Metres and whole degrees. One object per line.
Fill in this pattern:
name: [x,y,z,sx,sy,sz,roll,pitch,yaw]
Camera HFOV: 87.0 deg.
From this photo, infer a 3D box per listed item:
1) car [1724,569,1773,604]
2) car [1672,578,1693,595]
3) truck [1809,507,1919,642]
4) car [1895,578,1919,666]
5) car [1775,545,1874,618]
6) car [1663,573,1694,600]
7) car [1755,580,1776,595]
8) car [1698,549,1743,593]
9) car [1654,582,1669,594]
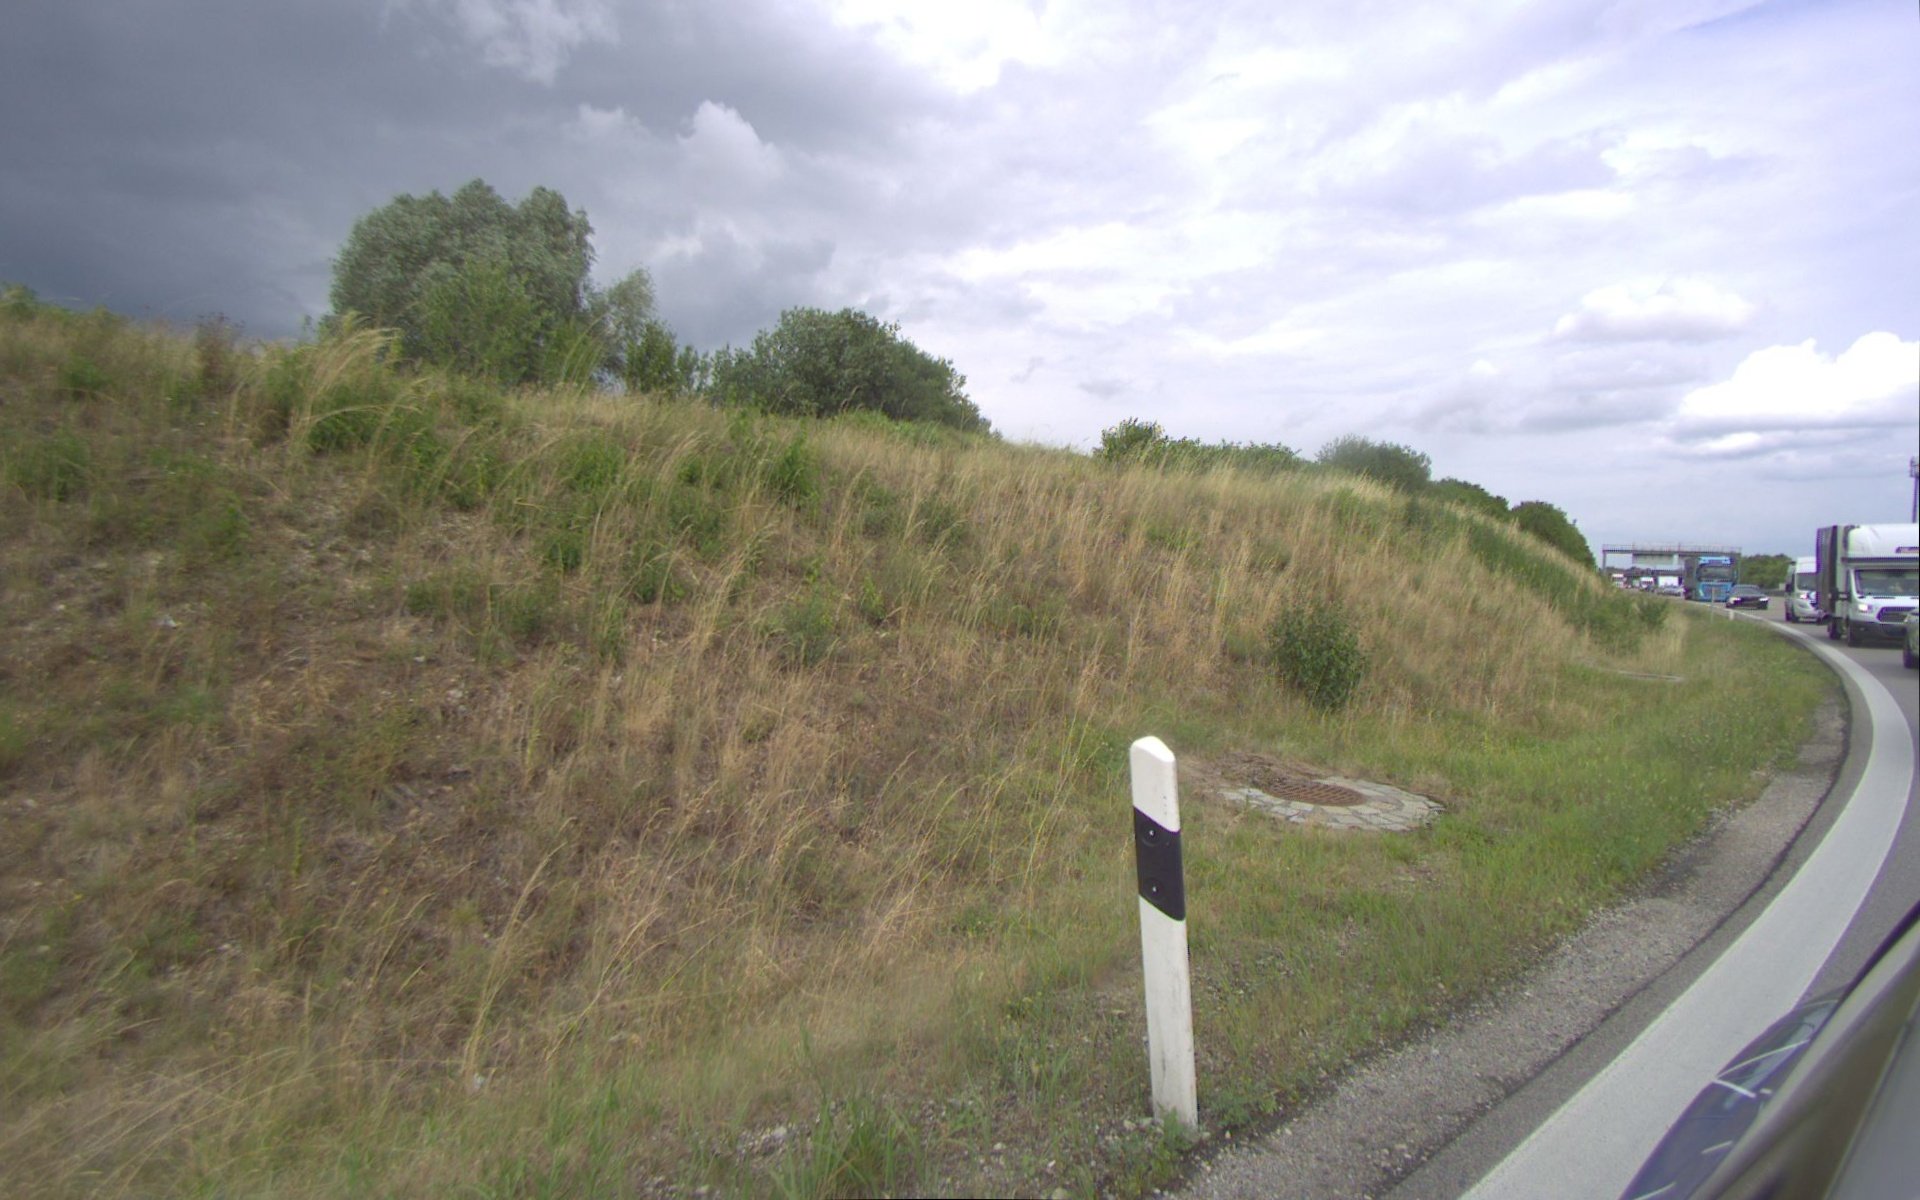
car: [49.037,-0.868,62.991,1.986,2.038,3.954,2,2,33]
car: [91.748,-1.699,128.550,1.918,2.057,3.953,2,2,33]
truck: [25.152,-0.683,27.378,2.433,3.275,7.107,1,2,33]
car: [18.153,0.418,17.719,1.987,1.595,3.951,2,2,34]
car: [35.481,-0.783,41.733,2.006,2.779,6.850,1,2,32]
car: [95.542,-1.871,134.566,2.926,3.509,6.496,2,2,32]
car: [112.288,-1.755,141.079,1.987,2.038,3.951,1,2,34]
car: [67.577,-2.558,90.087,2.487,3.757,7.614,1,2,32]
car: [124.152,-2.149,179.181,1.985,2.039,3.955,-1,1,32]
